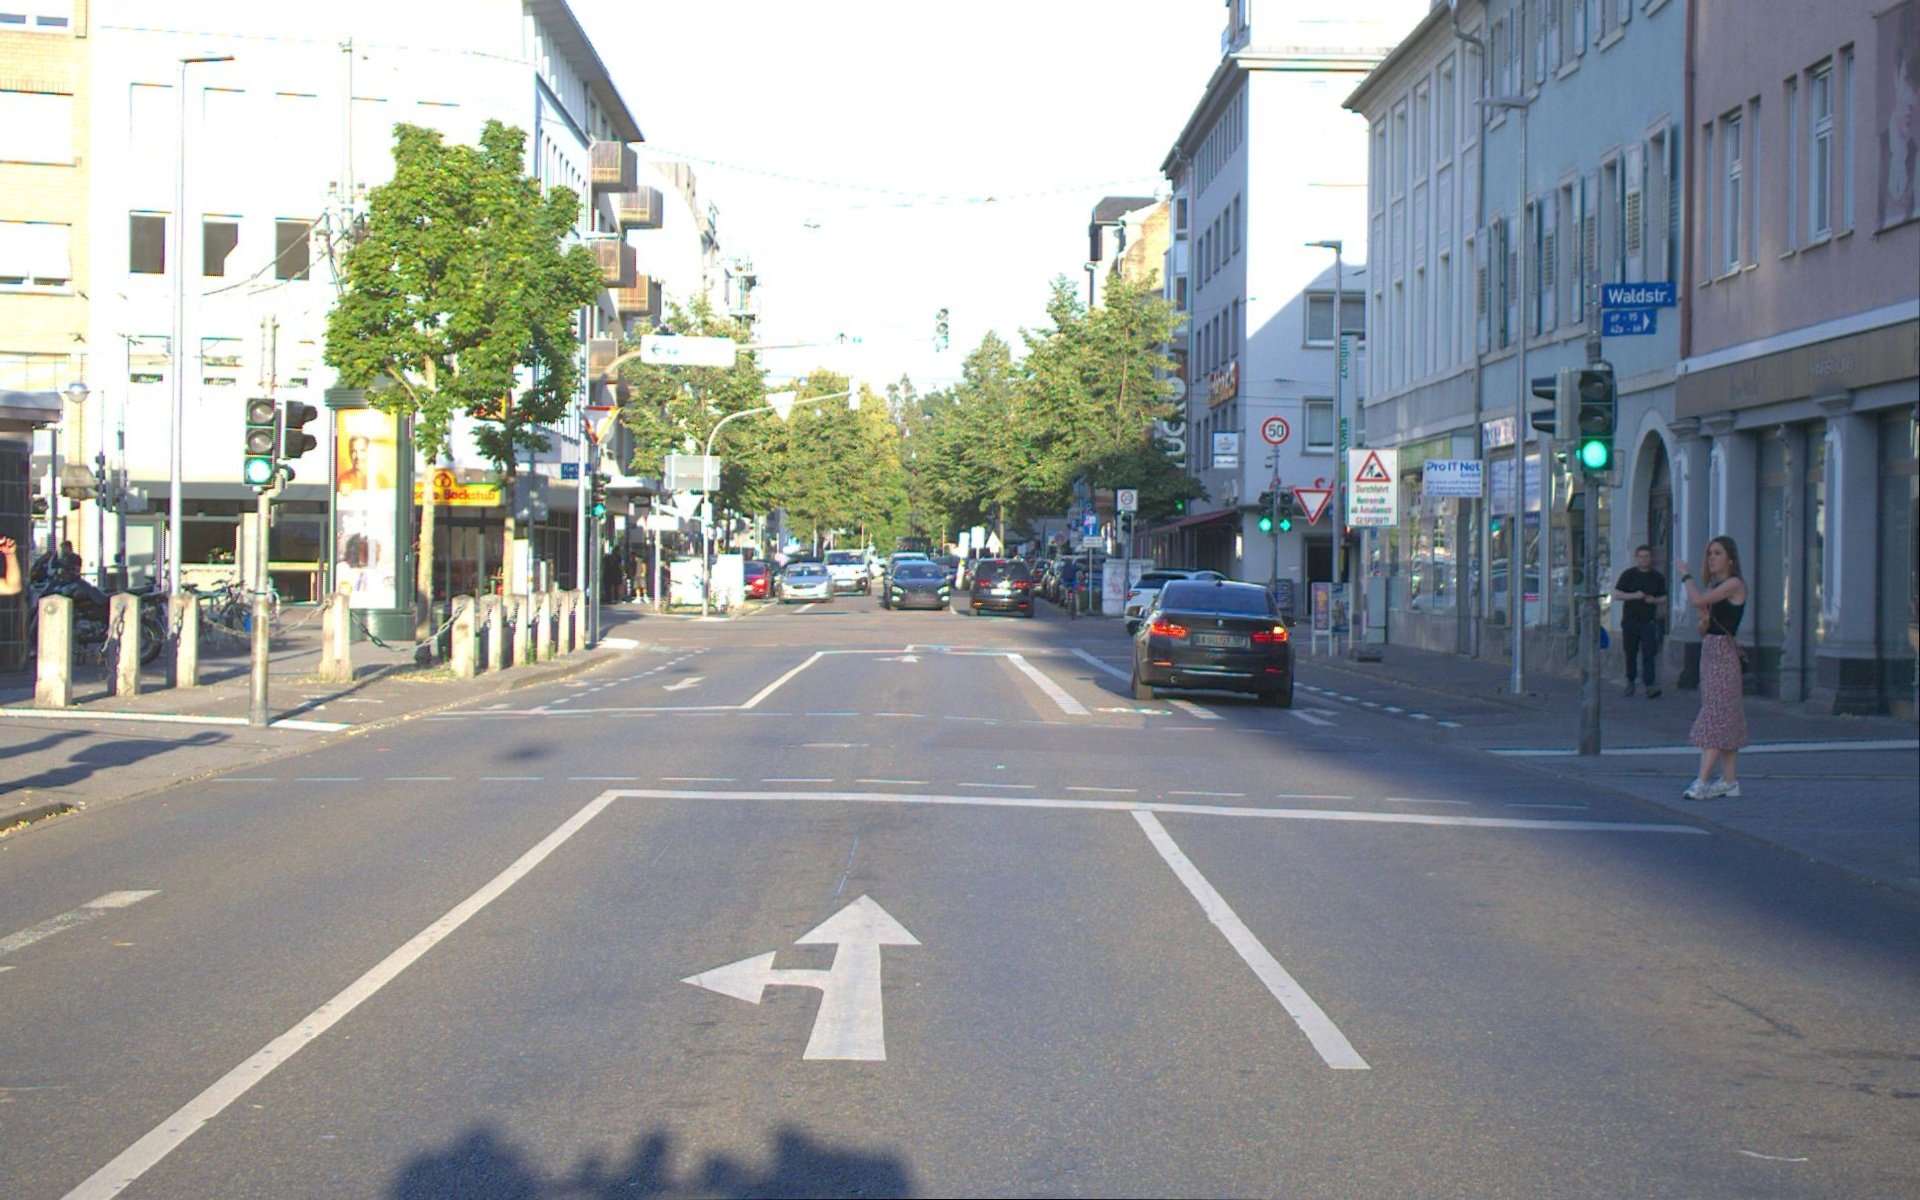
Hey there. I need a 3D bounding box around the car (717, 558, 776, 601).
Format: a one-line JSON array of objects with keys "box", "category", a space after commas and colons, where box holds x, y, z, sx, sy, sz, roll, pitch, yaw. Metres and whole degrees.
[{"box": [-8.174, -0.802, 131.837, 1.894, 1.590, 4.000, 1, 1, 1], "category": "car"}]

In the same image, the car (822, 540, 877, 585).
[{"box": [-4.418, -1.519, 138.078, 1.993, 1.744, 4.000, 1, 1, 1], "category": "car"}]

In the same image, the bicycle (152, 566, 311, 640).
[{"box": [-11.533, 0.049, 54.469, 2.323, 1.127, 0.800, 1, 0, 1], "category": "bicycle"}]

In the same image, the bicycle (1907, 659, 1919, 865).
[{"box": [5.549, 0.812, 17.162, 1.500, 1.022, 0.512, 0, 1, -4], "category": "bicycle"}]

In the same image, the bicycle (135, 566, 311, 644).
[{"box": [-11.206, 0.070, 52.338, 2.523, 1.142, 0.701, 1, 0, -2], "category": "bicycle"}]

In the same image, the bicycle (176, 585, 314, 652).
[{"box": [-11.602, 0.298, 55.820, 2.091, 1.060, 0.682, 1, 0, 0], "category": "bicycle"}]

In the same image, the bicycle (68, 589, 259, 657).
[{"box": [-11.237, 0.319, 48.543, 2.523, 0.916, 0.701, 1, 0, -2], "category": "bicycle"}]

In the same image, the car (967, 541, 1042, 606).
[{"box": [1.231, -0.747, 95.913, 1.993, 1.744, 4.000, 1, 1, 0], "category": "car"}]

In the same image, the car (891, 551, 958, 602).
[{"box": [-1.066, -0.732, 104.443, 1.885, 1.481, 4.000, 1, 1, 1], "category": "car"}]

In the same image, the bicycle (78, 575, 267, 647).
[{"box": [-11.368, 0.160, 49.661, 2.523, 0.994, 0.934, 1, 0, -2], "category": "bicycle"}]

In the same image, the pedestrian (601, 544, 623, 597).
[{"box": [-11.211, -0.955, 110.847, 0.600, 1.715, 0.578, 1, 1, -14], "category": "pedestrian"}]

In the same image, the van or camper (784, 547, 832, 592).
[{"box": [-8.409, -1.709, 189.731, 2.472, 2.397, 4.001, 1, 1, -4], "category": "van or camper"}]

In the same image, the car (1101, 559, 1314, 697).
[{"box": [2.819, 0.287, 40.087, 1.888, 1.487, 4.205, 1, 1, -4], "category": "car"}]

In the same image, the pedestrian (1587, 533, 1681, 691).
[{"box": [7.698, 0.126, 39.300, 0.757, 1.771, 1.049, 1, 1, -5], "category": "pedestrian"}]

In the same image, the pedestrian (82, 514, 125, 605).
[{"box": [-15.315, -0.728, 61.453, 0.547, 1.605, 0.643, 1, 0, -34], "category": "pedestrian"}]

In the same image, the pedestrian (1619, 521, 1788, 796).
[{"box": [4.749, 0.364, 21.995, 0.794, 1.714, 0.812, 1, 1, -7], "category": "pedestrian"}]

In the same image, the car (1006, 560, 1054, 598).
[{"box": [3.035, -0.926, 150.601, 1.780, 1.590, 3.635, 1, 1, -3], "category": "car"}]

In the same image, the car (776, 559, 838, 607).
[{"box": [-5.289, -0.603, 119.322, 1.894, 1.590, 4.000, 1, 1, 1], "category": "car"}]

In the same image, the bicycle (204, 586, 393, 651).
[{"box": [-10.897, 0.299, 56.693, 2.942, 1.019, 0.843, 1, 0, 2], "category": "bicycle"}]

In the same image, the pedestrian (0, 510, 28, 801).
[{"box": [-6.060, 0.314, 20.512, 0.881, 1.714, 0.715, 1, 1, -11], "category": "pedestrian"}]

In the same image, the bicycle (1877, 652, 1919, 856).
[{"box": [5.541, 0.798, 17.650, 1.500, 1.012, 0.512, 1, 1, -3], "category": "bicycle"}]

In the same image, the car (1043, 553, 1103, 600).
[{"box": [4.038, -0.844, 123.073, 1.993, 1.611, 4.000, 1, 1, 0], "category": "car"}]

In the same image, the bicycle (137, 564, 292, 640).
[{"box": [-11.604, 0.027, 53.552, 2.235, 1.131, 0.812, 1, 0, -3], "category": "bicycle"}]

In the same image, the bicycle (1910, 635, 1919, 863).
[{"box": [5.644, 0.754, 16.559, 1.884, 1.109, 0.762, 1, 1, -3], "category": "bicycle"}]

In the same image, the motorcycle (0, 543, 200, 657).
[{"box": [-11.116, -0.002, 44.275, 2.413, 1.421, 1.113, 1, 0, -1], "category": "motorcycle"}]

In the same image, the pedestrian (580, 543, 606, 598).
[{"box": [-11.604, -0.930, 108.704, 0.684, 1.715, 0.702, 1, 1, 0], "category": "pedestrian"}]

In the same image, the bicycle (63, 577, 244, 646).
[{"box": [-11.143, 0.151, 47.549, 2.327, 0.916, 0.701, 1, 0, -2], "category": "bicycle"}]

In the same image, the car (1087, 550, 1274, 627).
[{"box": [4.834, -0.250, 75.031, 2.339, 1.598, 3.886, 2, 1, 36], "category": "car"}]

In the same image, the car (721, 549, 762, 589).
[{"box": [-11.382, -1.629, 179.226, 1.828, 2.007, 3.676, 1, 1, 1], "category": "car"}]

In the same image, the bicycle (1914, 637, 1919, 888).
[{"box": [5.422, 0.768, 15.750, 1.884, 1.163, 0.723, 0, 1, -3], "category": "bicycle"}]
